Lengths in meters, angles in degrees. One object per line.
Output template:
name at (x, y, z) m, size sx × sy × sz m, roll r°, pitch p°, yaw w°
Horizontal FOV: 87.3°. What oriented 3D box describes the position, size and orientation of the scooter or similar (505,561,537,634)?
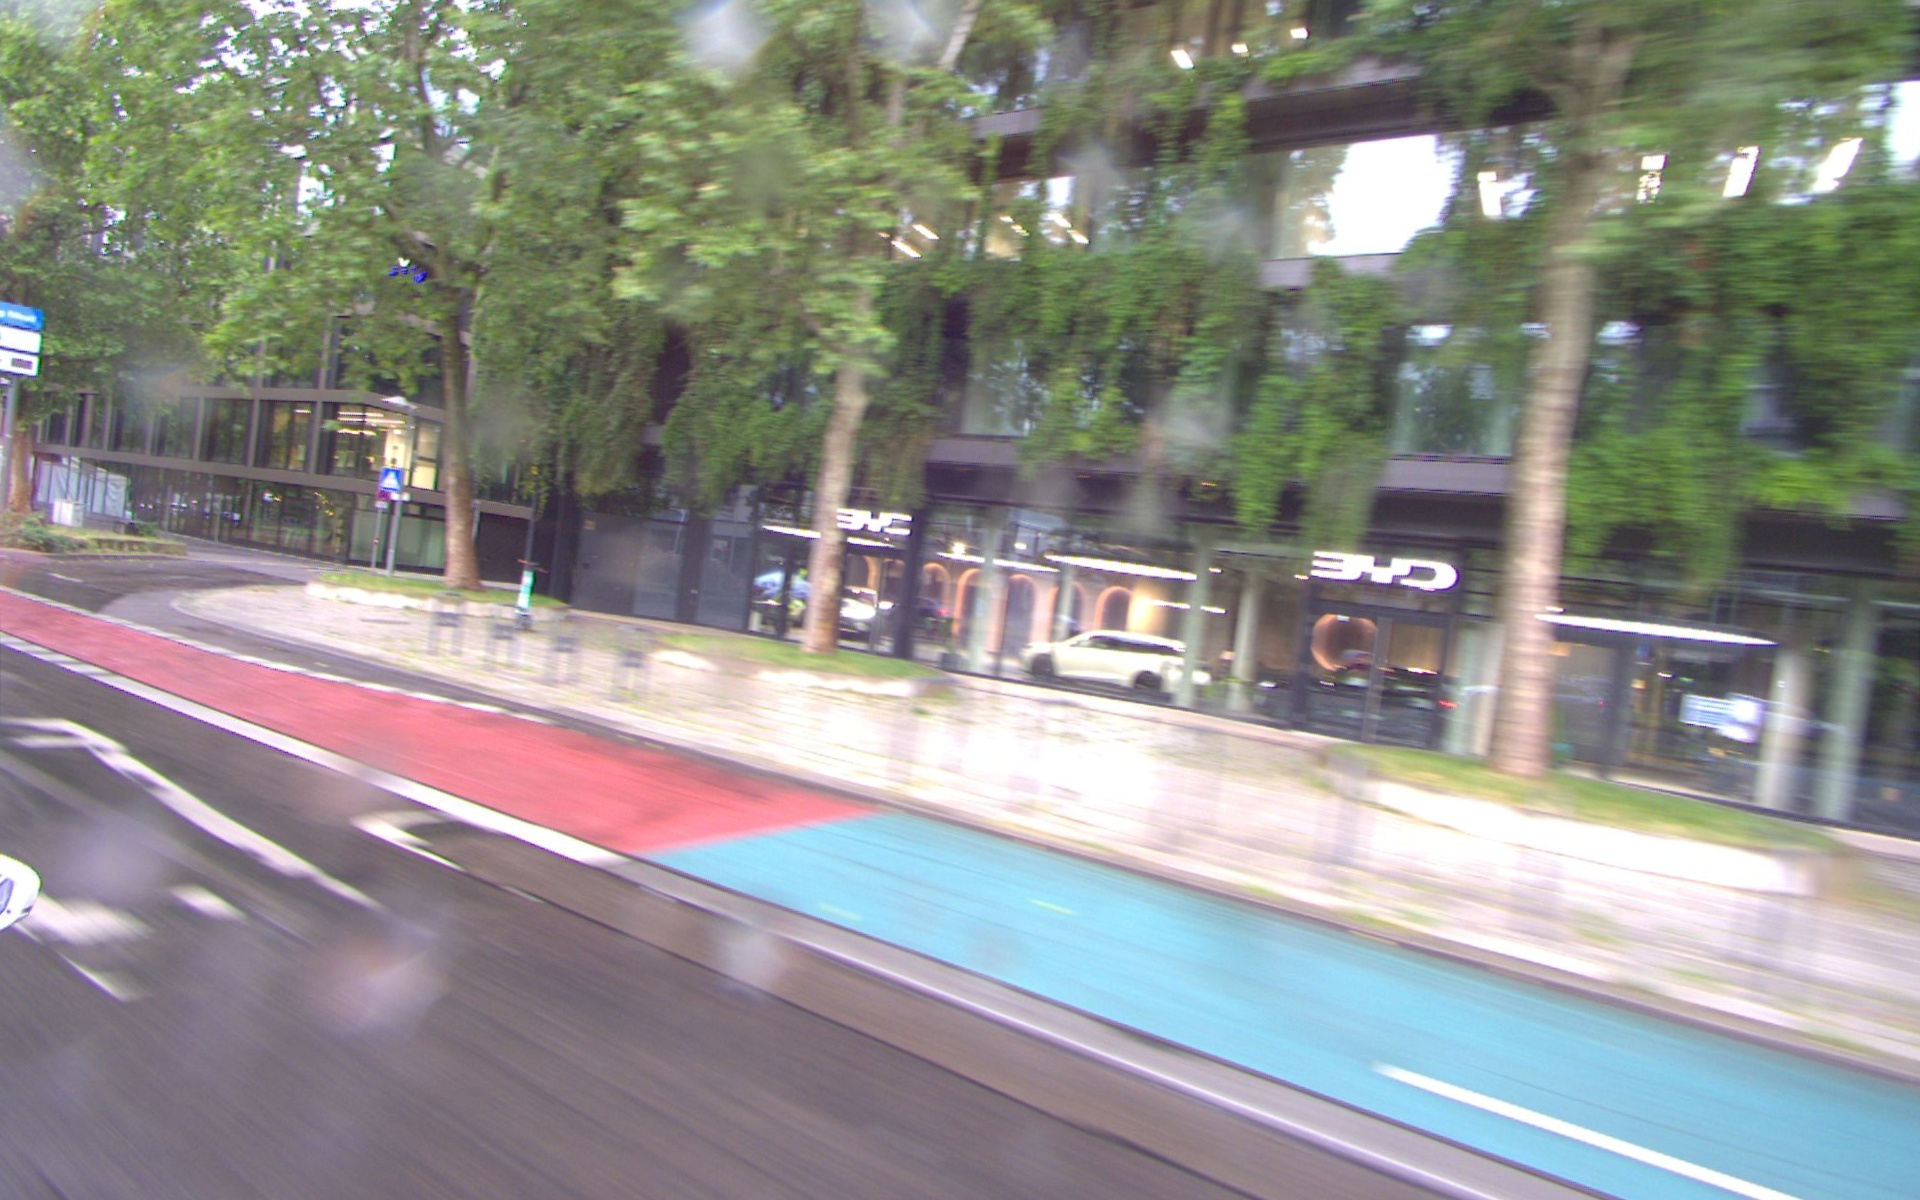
scooter or similar at (-7.893, -0.059, 18.106) m, size 0.377 × 1.243 × 1.073 m, roll 7°, pitch 0°, yaw -22°
